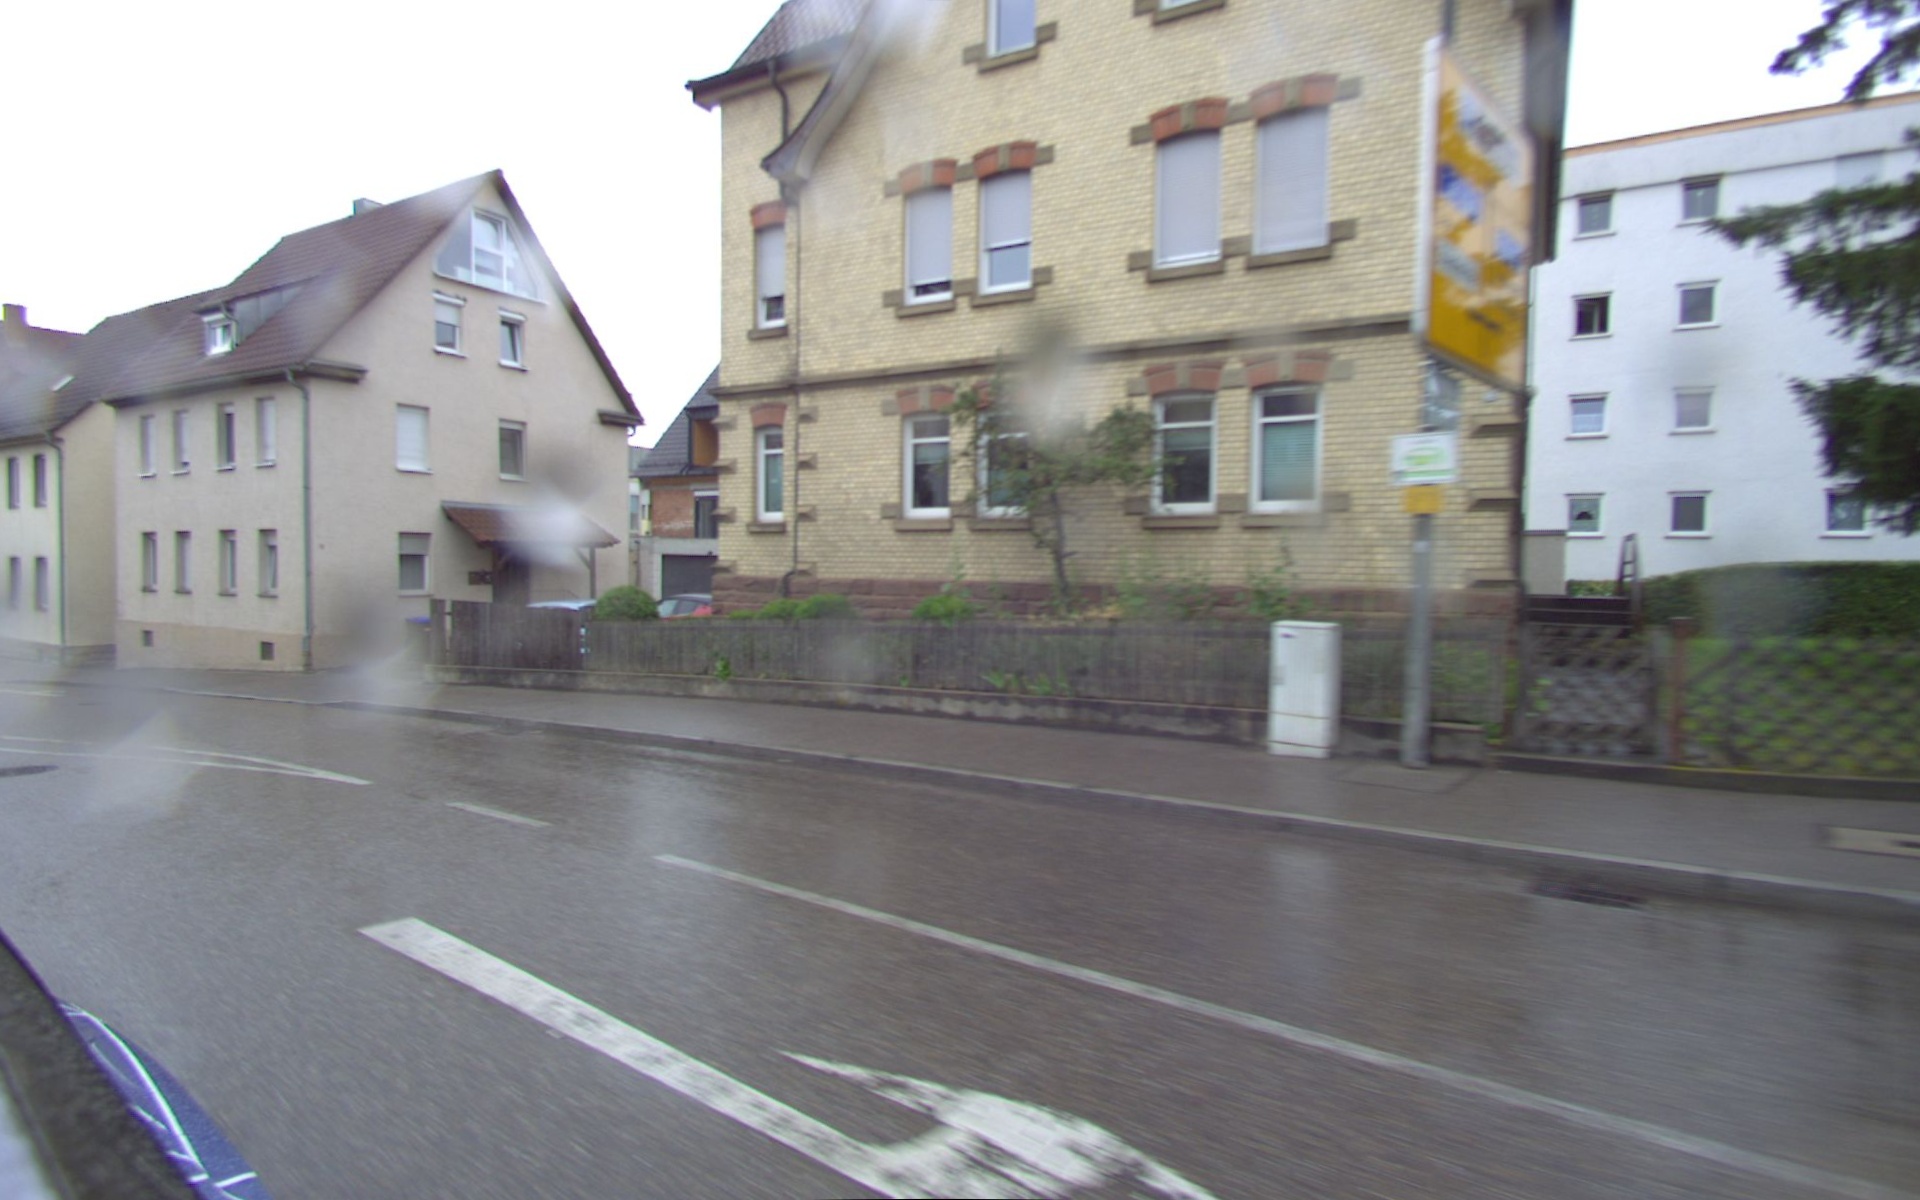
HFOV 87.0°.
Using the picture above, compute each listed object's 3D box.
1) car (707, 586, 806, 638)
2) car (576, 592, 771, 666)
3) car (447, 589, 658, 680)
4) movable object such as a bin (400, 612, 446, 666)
[{"bbox_3d":[-7.225,0.391,36.230,1.757,1.612,3.229,-2,2,29],"label":"car"},{"bbox_3d":[-6.062,0.622,21.345,3.868,1.377,1.758,-2,1,31],"label":"car"},{"bbox_3d":[-7.794,0.644,19.282,3.870,1.514,1.757,-2,1,33],"label":"car"},{"bbox_3d":[-12.917,0.929,24.354,0.647,1.256,0.751,-2,-1,31],"label":"movable object such as a bin"}]
